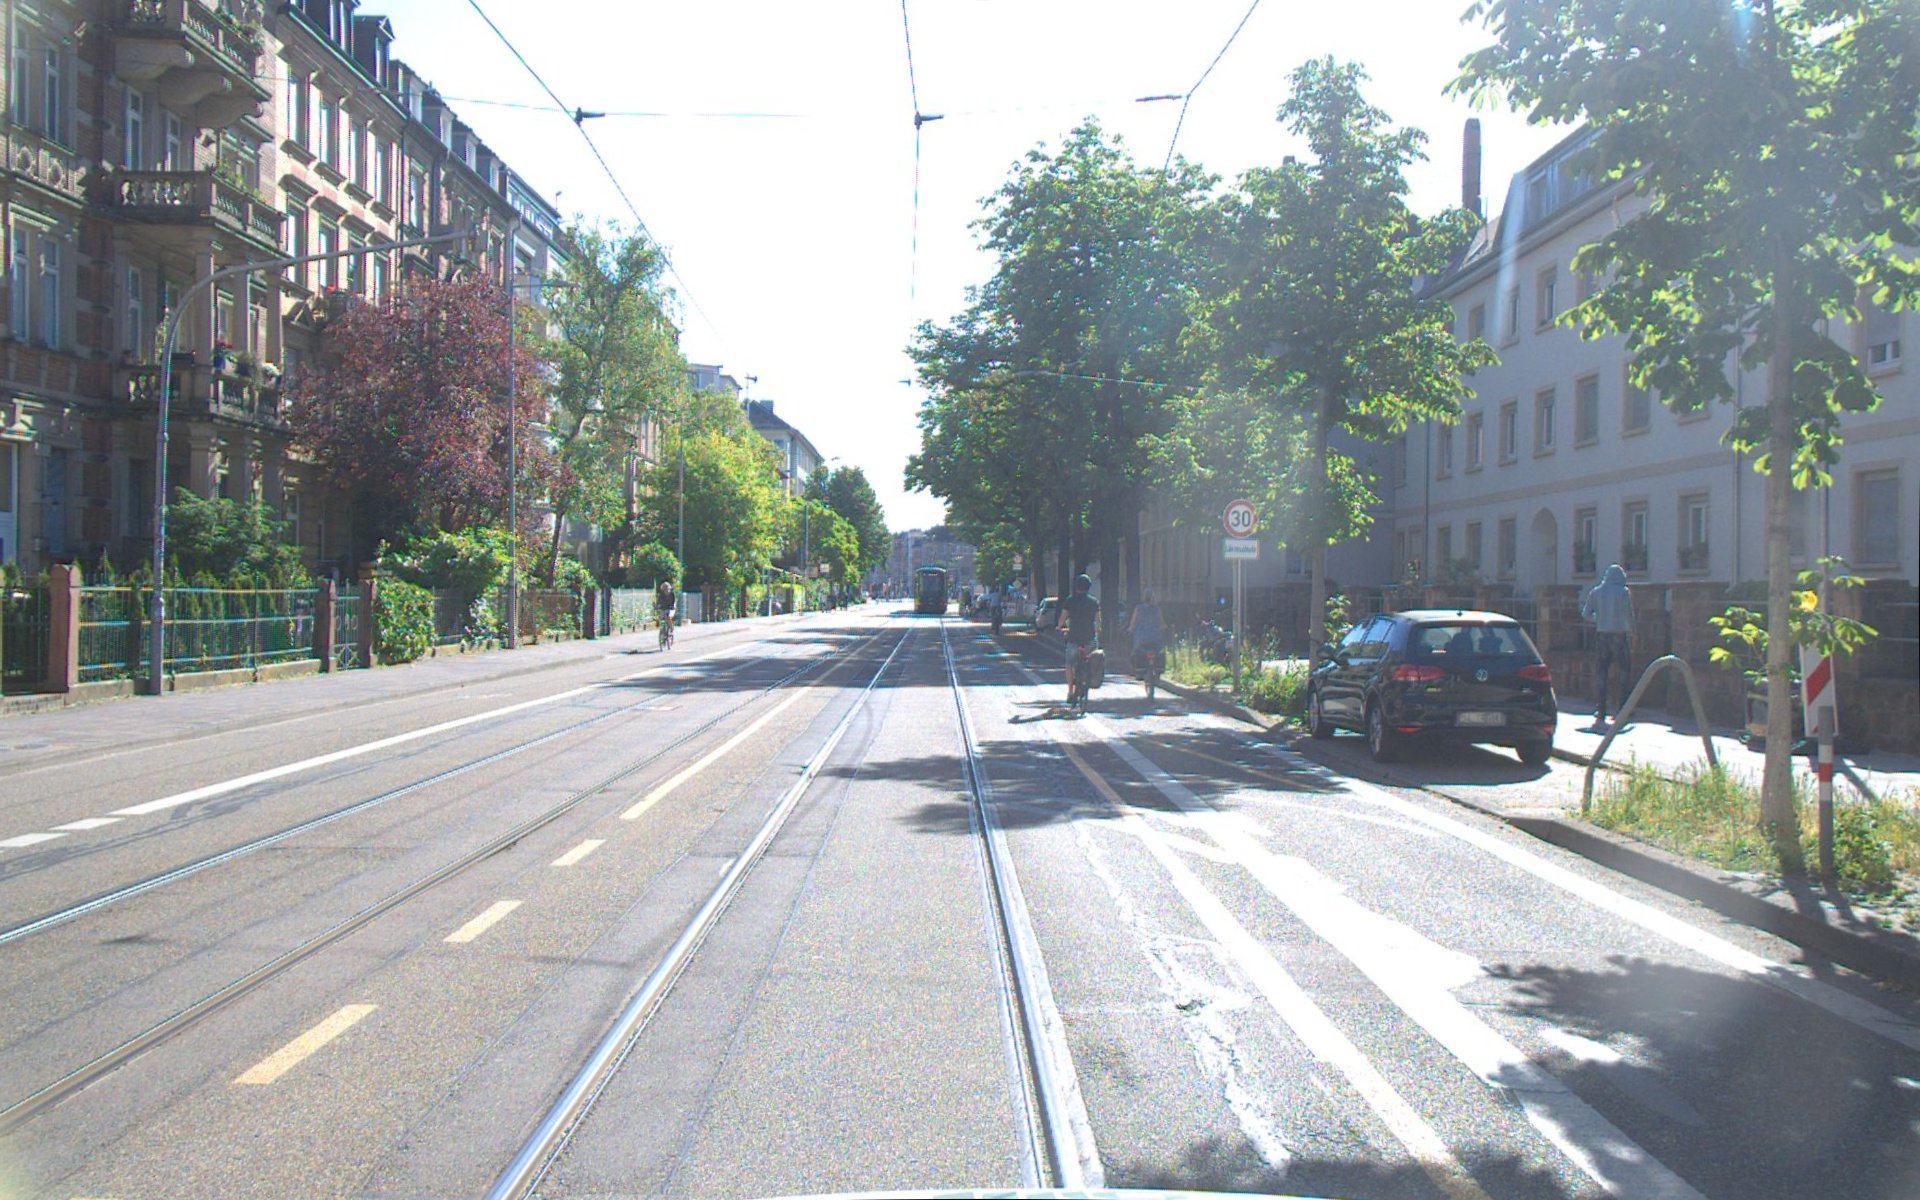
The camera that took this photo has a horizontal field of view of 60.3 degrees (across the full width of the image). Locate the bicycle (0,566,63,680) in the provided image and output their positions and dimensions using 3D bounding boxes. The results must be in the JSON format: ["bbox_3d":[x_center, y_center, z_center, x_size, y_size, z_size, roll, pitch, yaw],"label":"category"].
[{"bbox_3d":[-11.942,0.253,20.030,1.730,1.343,0.612,2,0,-11],"label":"bicycle"}]

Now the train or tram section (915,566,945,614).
[{"bbox_3d":[-2.296,-0.747,127.724,2.110,3.491,6.609,2,0,-1],"label":"train or tram section"}]

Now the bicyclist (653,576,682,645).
[{"bbox_3d":[-7.893,0.274,44.655,0.647,1.833,0.615,-1,-1,-1],"label":"bicyclist"}]

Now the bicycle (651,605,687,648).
[{"bbox_3d":[-7.896,0.710,44.911,0.677,1.132,1.718,0,0,-1],"label":"bicycle"}]

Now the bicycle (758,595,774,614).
[{"bbox_3d":[-11.916,0.272,101.624,0.623,1.088,1.823,2,0,-17],"label":"bicycle"}]

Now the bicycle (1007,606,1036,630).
[{"bbox_3d":[2.879,0.834,77.214,1.243,1.042,0.704,3,-1,7],"label":"bicycle"}]

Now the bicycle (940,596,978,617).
[{"bbox_3d":[-0.056,0.386,100.831,2.094,1.191,0.803,2,0,14],"label":"bicycle"}]

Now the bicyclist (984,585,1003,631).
[{"bbox_3d":[1.333,0.321,66.094,0.632,1.827,0.955,2,0,-1],"label":"bicyclist"}]

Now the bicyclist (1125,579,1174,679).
[{"bbox_3d":[2.931,0.443,25.619,0.622,1.493,0.616,2,0,-1],"label":"bicyclist"}]

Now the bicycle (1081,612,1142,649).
[{"bbox_3d":[4.536,0.910,49.666,1.756,1.037,0.620,-1,0,-2],"label":"bicycle"}]

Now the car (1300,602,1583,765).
[{"bbox_3d":[4.926,0.789,17.514,1.751,1.489,4.043,0,0,-1],"label":"car"}]

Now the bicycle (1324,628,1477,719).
[{"bbox_3d":[5.543,0.920,20.850,1.758,1.086,0.620,-1,0,-6],"label":"bicycle"}]

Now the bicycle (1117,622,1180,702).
[{"bbox_3d":[2.898,0.941,25.593,0.678,1.132,1.917,2,0,-1],"label":"bicycle"}]

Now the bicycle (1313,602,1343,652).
[{"bbox_3d":[9.484,0.697,42.626,0.426,1.244,1.373,2,0,-1],"label":"bicycle"}]

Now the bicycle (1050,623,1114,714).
[{"bbox_3d":[1.643,0.909,22.466,0.678,1.132,1.718,2,0,-1],"label":"bicycle"}]

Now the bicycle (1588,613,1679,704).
[{"bbox_3d":[9.366,0.790,23.060,0.439,1.173,1.917,1,0,-1],"label":"bicycle"}]

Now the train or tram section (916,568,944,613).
[{"bbox_3d":[-2.426,-0.772,134.359,2.110,3.491,6.609,2,0,-1],"label":"train or tram section"}]

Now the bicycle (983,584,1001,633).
[{"bbox_3d":[1.285,0.339,66.768,0.649,1.891,2.260,2,0,0],"label":"bicycle"}]

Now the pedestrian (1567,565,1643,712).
[{"bbox_3d":[7.928,0.463,20.314,0.748,1.754,0.579,2,0,28],"label":"pedestrian"}]

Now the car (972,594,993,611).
[{"bbox_3d":[2.099,0.217,154.290,1.718,1.579,3.676,2,0,-1],"label":"car"}]

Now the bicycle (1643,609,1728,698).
[{"bbox_3d":[10.166,0.725,23.222,0.432,1.173,1.574,2,0,-1],"label":"bicycle"}]

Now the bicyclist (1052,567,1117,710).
[{"bbox_3d":[1.677,0.509,22.391,0.713,1.880,0.836,2,0,-2],"label":"bicyclist"}]

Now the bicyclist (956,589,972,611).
[{"bbox_3d":[0.229,-0.017,100.523,0.756,1.314,0.734,2,0,15],"label":"bicyclist"}]

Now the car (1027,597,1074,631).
[{"bbox_3d":[3.898,0.589,71.592,1.713,1.445,3.999,0,0,-2],"label":"car"}]

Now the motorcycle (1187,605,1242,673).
[{"bbox_3d":[4.891,0.736,31.903,0.486,1.211,1.858,-3,1,-8],"label":"motorcycle"}]

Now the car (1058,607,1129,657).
[{"bbox_3d":[4.221,0.980,52.887,1.596,1.461,4.661,0,0,-4],"label":"car"}]
